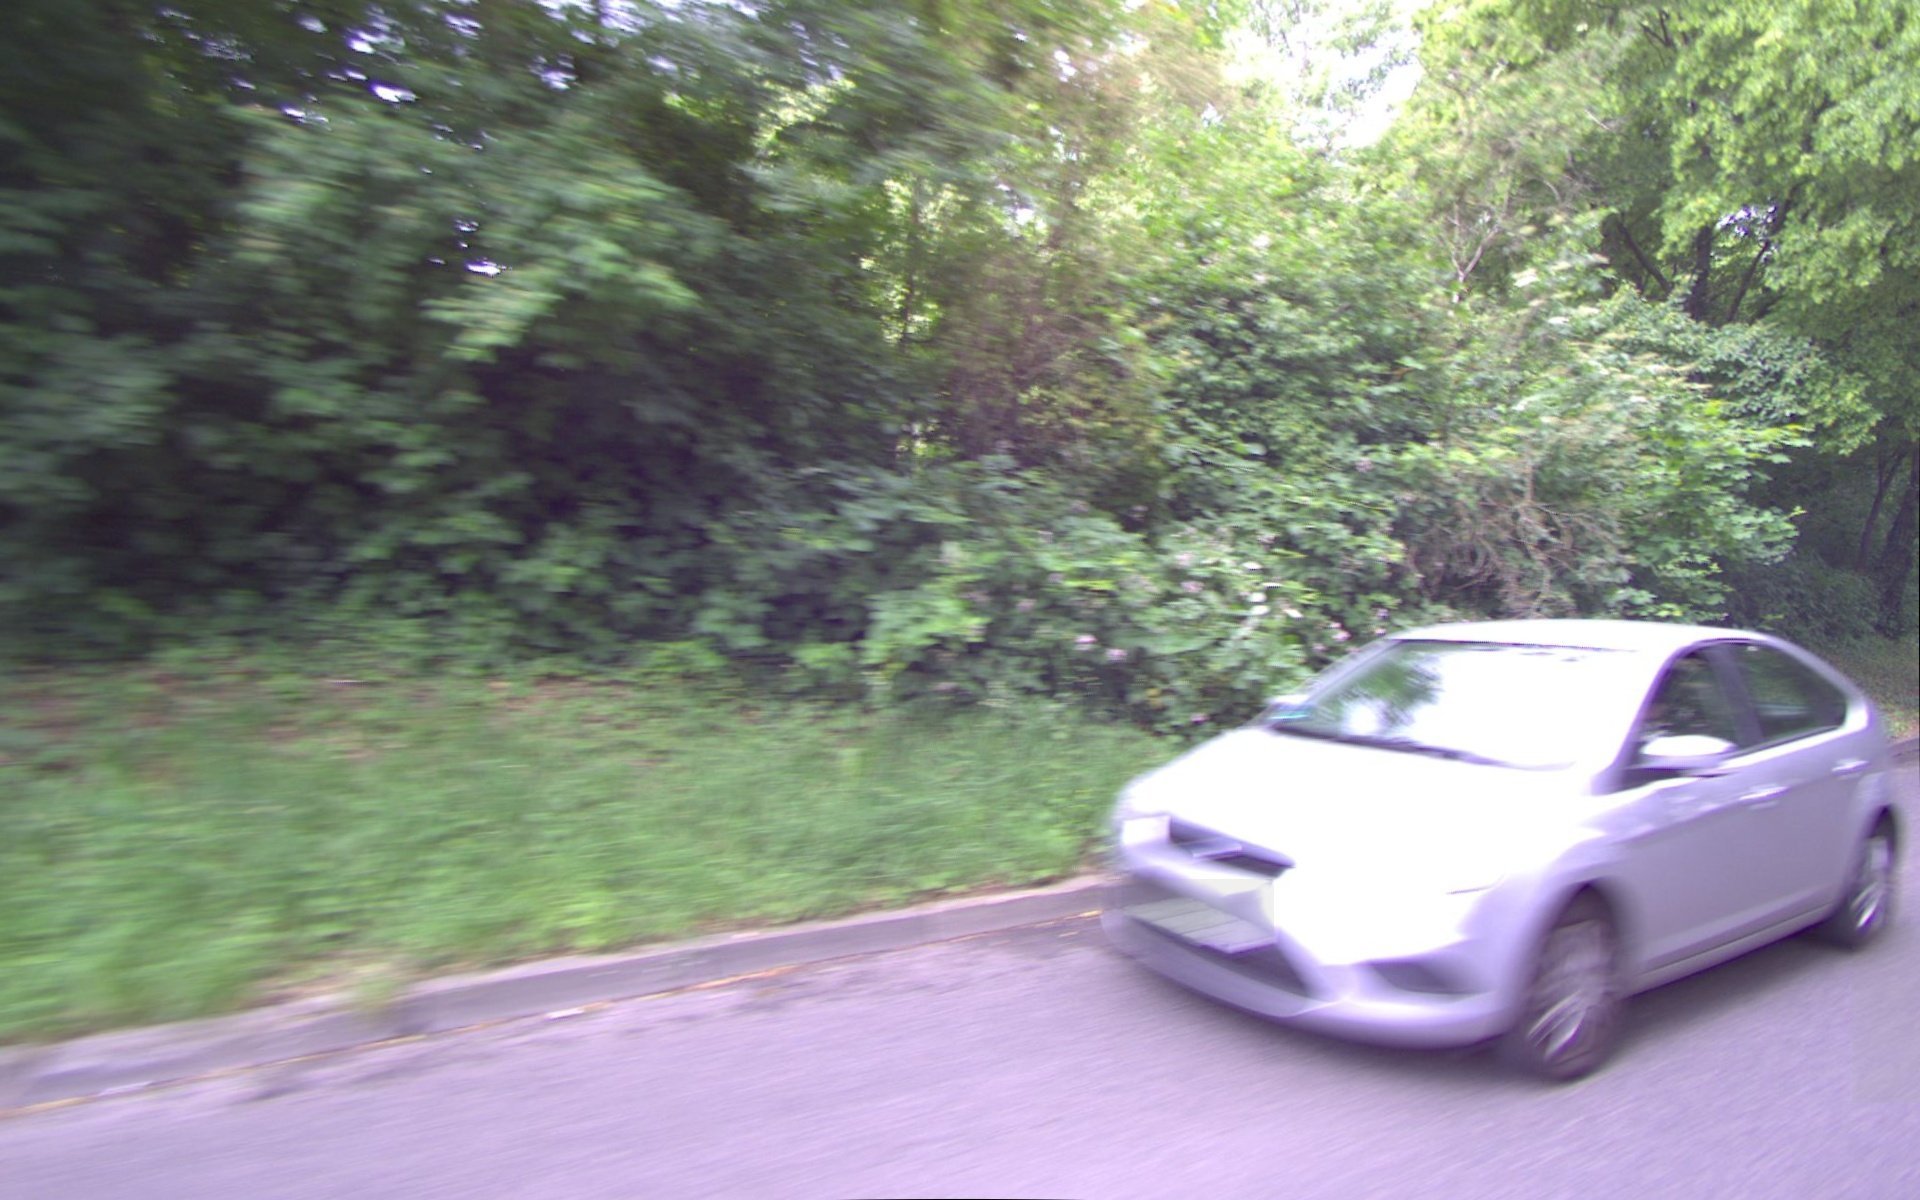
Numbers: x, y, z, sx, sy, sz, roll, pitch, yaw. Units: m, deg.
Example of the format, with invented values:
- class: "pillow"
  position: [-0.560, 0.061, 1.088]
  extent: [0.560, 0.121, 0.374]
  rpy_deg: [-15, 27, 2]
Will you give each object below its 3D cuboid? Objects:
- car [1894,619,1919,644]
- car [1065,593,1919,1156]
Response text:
- class: "car"
  position: [68.126, 2.250, 70.674]
  extent: [1.763, 1.708, 4.237]
  rpy_deg: [2, 1, 16]
- class: "car"
  position: [2.589, 0.790, 4.546]
  extent: [3.955, 1.528, 1.785]
  rpy_deg: [1, -1, -32]
